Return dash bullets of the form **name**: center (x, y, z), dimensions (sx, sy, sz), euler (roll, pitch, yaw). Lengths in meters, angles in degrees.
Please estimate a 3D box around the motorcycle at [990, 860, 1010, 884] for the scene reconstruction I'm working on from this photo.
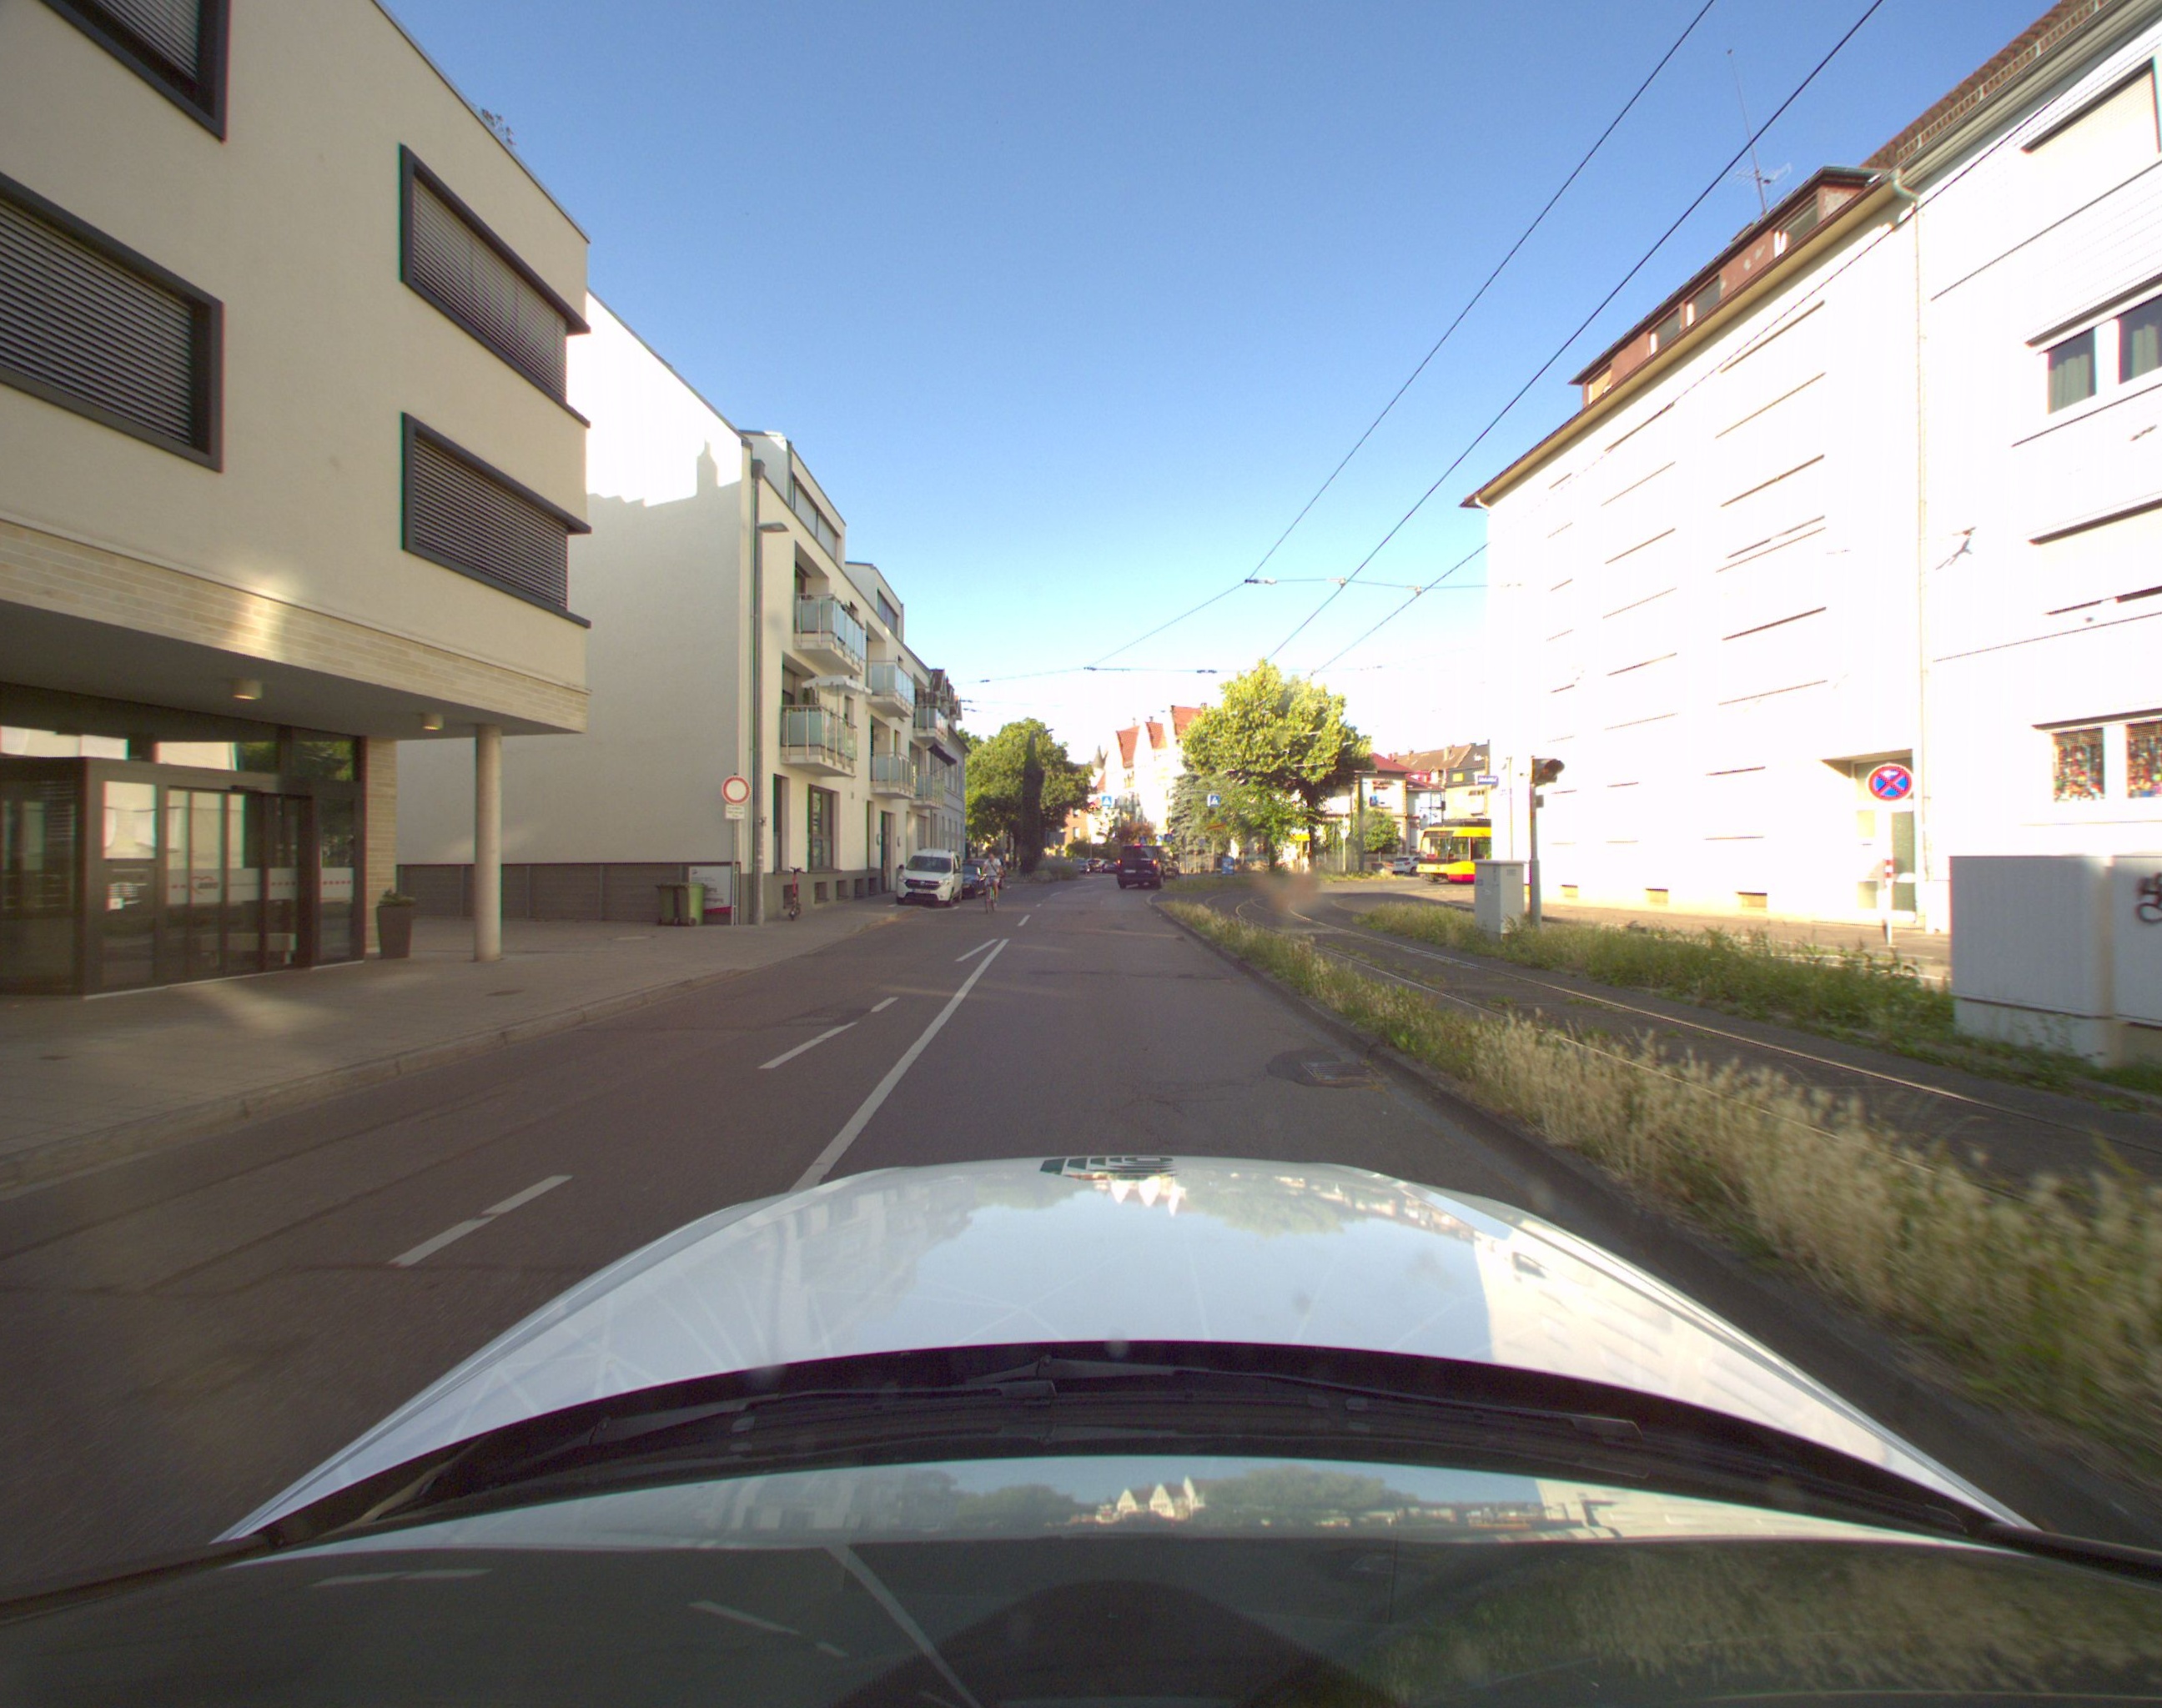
- **motorcycle**: center (-4.709, 1.011, 47.131), dimensions (0.931, 1.357, 2.555), euler (1, -1, -11)

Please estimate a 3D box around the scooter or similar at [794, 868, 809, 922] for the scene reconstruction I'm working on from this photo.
- **scooter or similar**: center (-6.655, 0.949, 19.376), dimensions (0.225, 1.220, 1.149), euler (1, 0, -14)

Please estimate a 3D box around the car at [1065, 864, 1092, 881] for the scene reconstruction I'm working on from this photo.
- **car**: center (-0.242, 1.675, 72.859), dimensions (1.713, 1.403, 3.723), euler (-1, -3, -11)

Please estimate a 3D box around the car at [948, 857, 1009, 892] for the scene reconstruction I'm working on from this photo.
- **car**: center (-4.686, 0.900, 37.886), dimensions (1.700, 1.466, 4.602), euler (2, 1, 7)

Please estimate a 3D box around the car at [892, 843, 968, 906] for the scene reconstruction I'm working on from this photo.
- **car**: center (-4.883, 0.645, 26.893), dimensions (1.806, 1.869, 4.328), euler (2, -1, -2)

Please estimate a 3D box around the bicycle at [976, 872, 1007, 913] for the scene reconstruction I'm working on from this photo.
- **bicycle**: center (-2.483, 1.051, 22.759), dimensions (0.620, 1.081, 1.783), euler (-1, -1, 1)

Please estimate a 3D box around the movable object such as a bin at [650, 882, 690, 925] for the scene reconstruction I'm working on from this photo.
- **movable object such as a bin**: center (-8.906, 1.056, 17.636), dimensions (0.543, 0.901, 0.533), euler (0, -1, 23)

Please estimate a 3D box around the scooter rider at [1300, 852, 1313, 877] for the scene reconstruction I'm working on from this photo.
- **scooter rider**: center (15.541, 0.732, 56.235), dimensions (0.607, 1.672, 0.651), euler (-1, -1, -14)

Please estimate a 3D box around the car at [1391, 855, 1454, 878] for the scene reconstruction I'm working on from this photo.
- **car**: center (24.078, 0.857, 57.532), dimensions (3.681, 1.505, 1.954), euler (-2, 0, -16)

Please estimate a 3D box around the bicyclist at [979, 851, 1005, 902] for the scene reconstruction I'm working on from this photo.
- **bicyclist**: center (-2.490, 0.629, 22.819), dimensions (0.620, 1.380, 0.801), euler (-1, -1, 0)

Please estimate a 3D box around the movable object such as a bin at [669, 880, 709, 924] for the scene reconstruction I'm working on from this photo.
- **movable object such as a bin**: center (-8.387, 1.021, 17.415), dimensions (0.543, 0.901, 0.533), euler (0, -1, 23)

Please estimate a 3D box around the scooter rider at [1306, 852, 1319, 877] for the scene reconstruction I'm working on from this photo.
- **scooter rider**: center (16.003, 0.731, 56.366), dimensions (0.607, 1.672, 0.651), euler (-1, -1, -14)

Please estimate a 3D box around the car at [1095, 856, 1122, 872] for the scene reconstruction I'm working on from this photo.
- **car**: center (2.799, 1.062, 84.299), dimensions (1.994, 1.596, 3.986), euler (1, -1, -10)

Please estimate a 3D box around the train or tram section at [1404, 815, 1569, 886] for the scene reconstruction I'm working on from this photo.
- **train or tram section**: center (22.178, -0.191, 44.354), dimensions (9.943, 3.555, 2.759), euler (0, 0, -28)

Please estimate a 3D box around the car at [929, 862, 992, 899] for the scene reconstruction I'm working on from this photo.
- **car**: center (-4.633, 0.999, 31.813), dimensions (1.657, 1.273, 4.028), euler (2, -1, 3)

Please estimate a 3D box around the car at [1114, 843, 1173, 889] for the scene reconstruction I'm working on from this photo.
- **car**: center (2.952, 0.507, 37.626), dimensions (1.979, 2.013, 4.016), euler (0, 0, 15)
